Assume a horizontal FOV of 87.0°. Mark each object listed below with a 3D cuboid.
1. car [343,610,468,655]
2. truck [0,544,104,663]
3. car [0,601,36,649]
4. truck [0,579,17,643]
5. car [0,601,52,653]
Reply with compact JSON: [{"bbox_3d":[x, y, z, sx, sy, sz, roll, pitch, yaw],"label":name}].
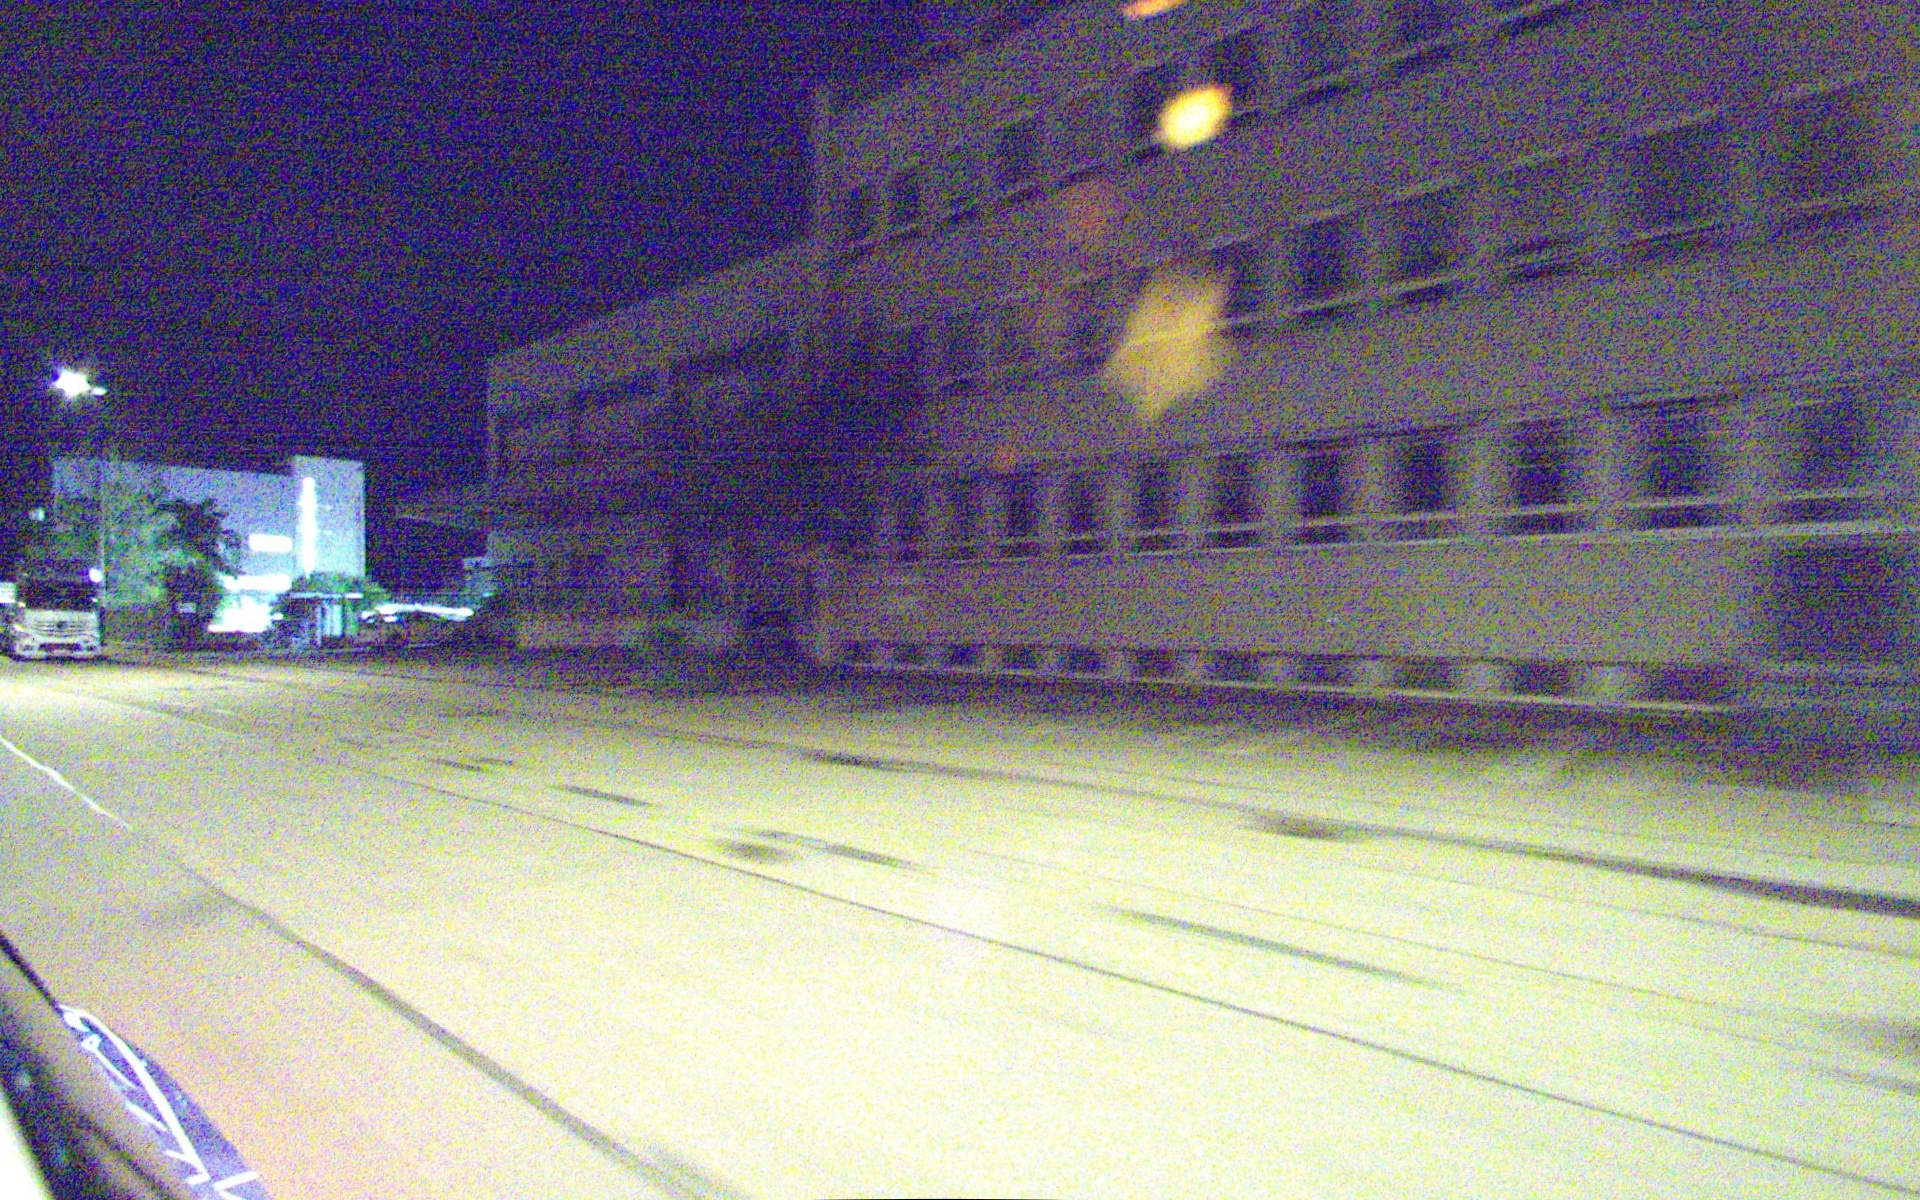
[{"bbox_3d":[-22.148,1.254,40.557,1.804,1.474,3.949,-2,2,38],"label":"car"},{"bbox_3d":[-38.387,0.222,42.254,12.827,4.347,2.608,0,-3,44],"label":"truck"},{"bbox_3d":[-50.927,1.341,53.751,5.739,2.462,1.973,-1,-1,40],"label":"car"},{"bbox_3d":[-59.536,0.721,60.664,10.386,3.659,2.795,-1,-1,38],"label":"truck"},{"bbox_3d":[-45.028,1.274,48.279,4.468,2.330,2.117,-2,-1,43],"label":"car"}]
